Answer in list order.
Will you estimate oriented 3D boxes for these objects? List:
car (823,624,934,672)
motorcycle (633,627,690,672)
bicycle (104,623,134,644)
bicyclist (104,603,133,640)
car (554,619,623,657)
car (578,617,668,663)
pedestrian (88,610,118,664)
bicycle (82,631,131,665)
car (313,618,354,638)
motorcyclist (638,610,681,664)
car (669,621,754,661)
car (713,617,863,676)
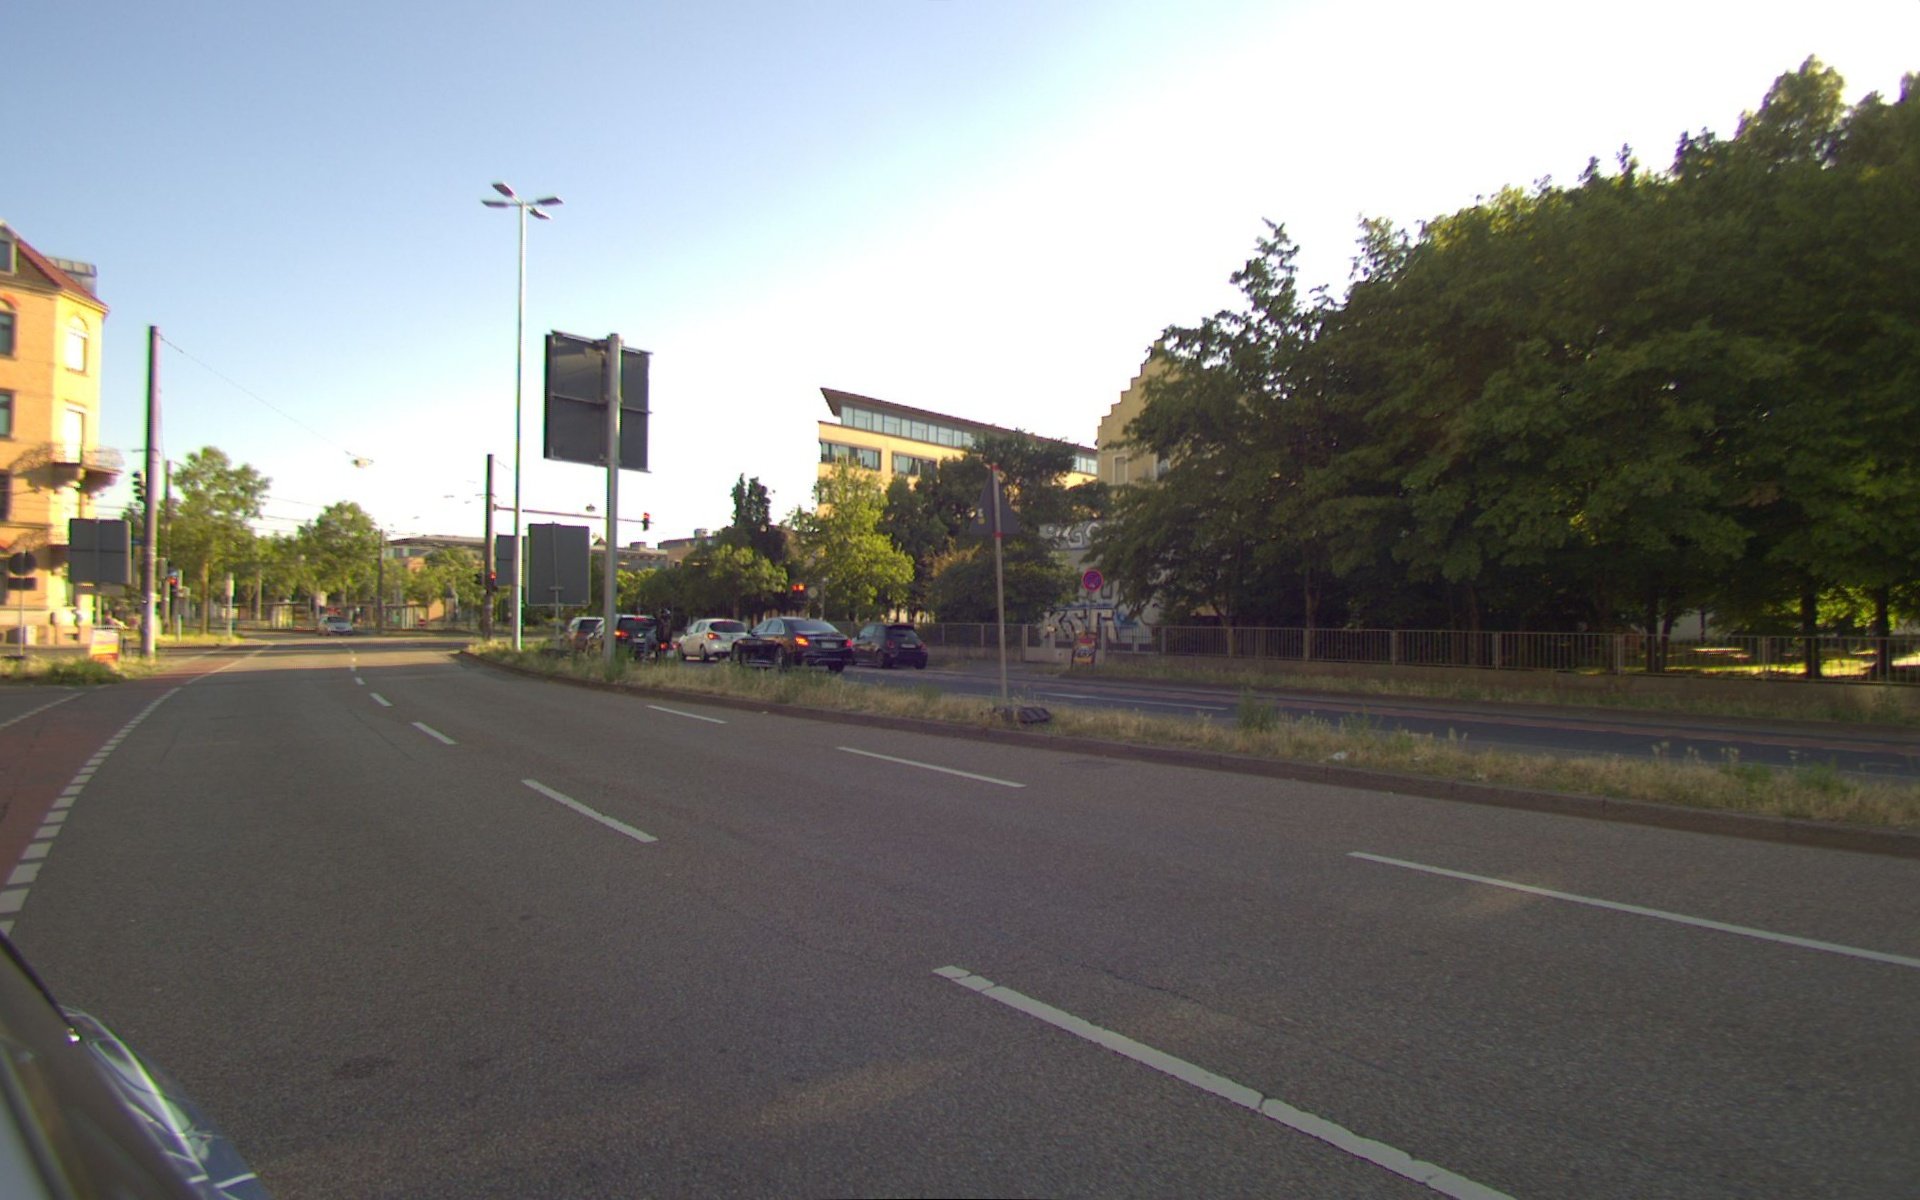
[{"bbox_3d":[-2.737,1.518,33.295,1.829,1.475,4.010,1,-2,-36],"label":"car"},{"bbox_3d":[-7.916,1.283,26.762,0.847,1.116,2.477,2,-2,-31],"label":"motorcycle"},{"bbox_3d":[-42.912,1.679,51.609,1.055,1.032,2.979,2,-2,-41],"label":"bicycle"},{"bbox_3d":[-42.887,1.102,51.587,1.055,1.856,1.305,2,-2,-41],"label":"bicyclist"},{"bbox_3d":[-13.566,1.357,36.823,1.694,1.306,4.262,1,-2,-29],"label":"car"},{"bbox_3d":[-10.343,1.182,30.860,1.695,1.306,4.390,2,-2,-31],"label":"car"},{"bbox_3d":[-26.545,1.151,31.352,0.481,1.644,0.527,1,-2,-12],"label":"pedestrian"},{"bbox_3d":[-26.432,1.473,31.360,0.393,1.037,1.676,1,-2,-12],"label":"bicycle"},{"bbox_3d":[-49.671,2.206,80.200,1.970,1.586,4.003,2,-2,-44],"label":"car"},{"bbox_3d":[-7.997,0.974,26.885,0.840,1.409,1.064,2,-2,-31],"label":"motorcyclist"},{"bbox_3d":[-8.729,1.409,35.374,1.695,1.329,3.905,2,-2,-33],"label":"car"},{"bbox_3d":[-4.995,1.260,28.742,1.967,1.507,5.304,2,-2,-37],"label":"car"}]
